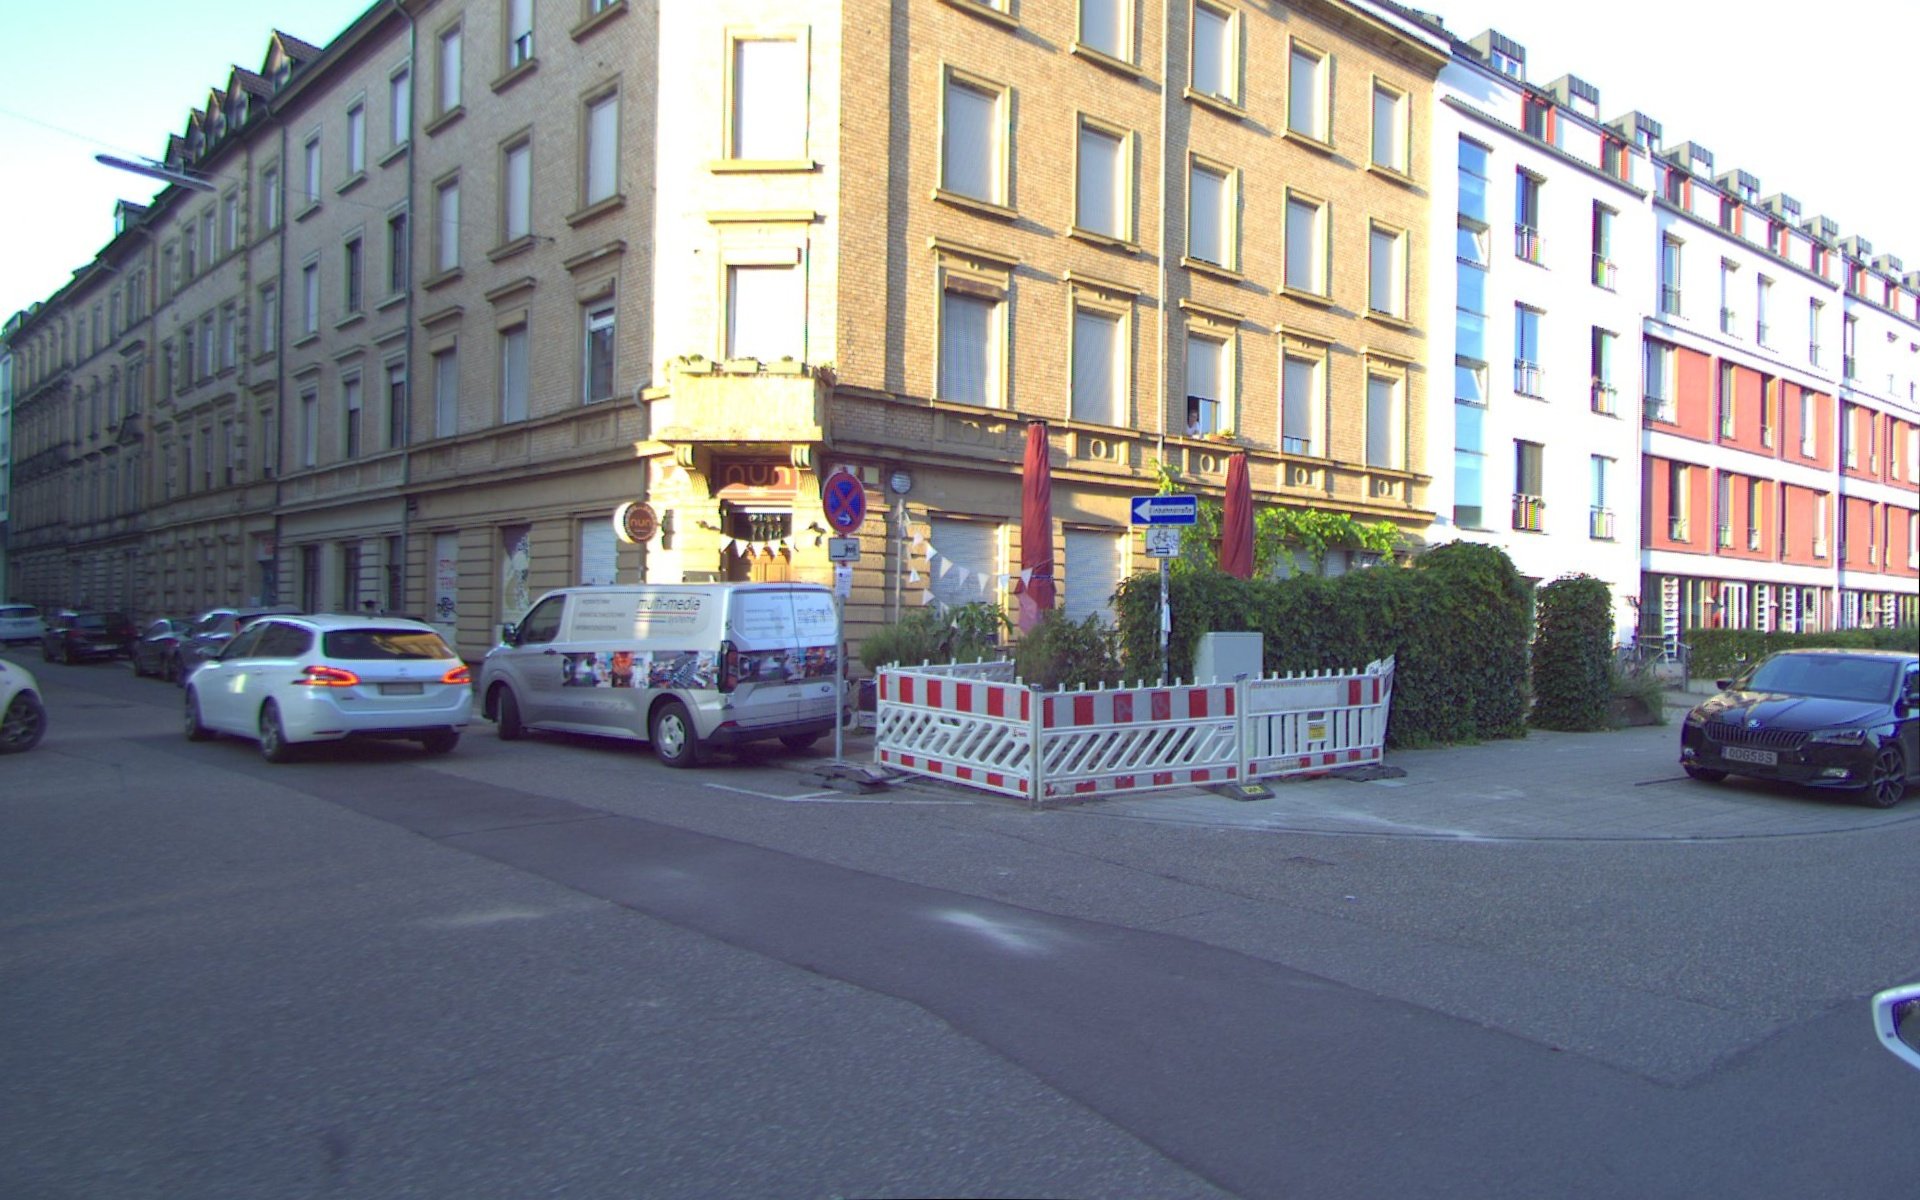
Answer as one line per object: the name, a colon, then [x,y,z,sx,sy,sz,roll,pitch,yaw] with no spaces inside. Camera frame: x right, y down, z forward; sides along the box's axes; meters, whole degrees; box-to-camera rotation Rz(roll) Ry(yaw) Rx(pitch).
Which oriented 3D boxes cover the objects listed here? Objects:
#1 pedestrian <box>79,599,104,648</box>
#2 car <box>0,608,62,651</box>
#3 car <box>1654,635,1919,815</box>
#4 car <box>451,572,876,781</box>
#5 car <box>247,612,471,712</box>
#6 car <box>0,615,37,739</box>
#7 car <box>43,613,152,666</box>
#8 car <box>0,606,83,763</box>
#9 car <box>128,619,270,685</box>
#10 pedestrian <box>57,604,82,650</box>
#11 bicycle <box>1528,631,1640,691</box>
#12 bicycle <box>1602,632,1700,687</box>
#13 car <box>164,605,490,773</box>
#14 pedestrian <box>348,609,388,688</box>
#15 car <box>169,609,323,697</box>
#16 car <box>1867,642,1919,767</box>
pedestrian: [-32.915,0.870,38.059,0.490,1.831,0.592,2,0,37]
car: [-36.138,1.105,38.507,3.937,1.578,1.882,-1,-1,38]
car: [9.256,1.194,10.678,3.800,1.554,1.695,2,-1,-31]
car: [-3.689,0.762,12.053,5.209,2.001,2.201,0,-1,36]
car: [-10.703,1.016,17.839,3.854,1.592,2.017,-1,-1,35]
car: [-13.186,0.911,12.647,4.022,1.458,1.987,-1,-1,43]
car: [-25.542,1.127,29.709,3.939,1.479,1.780,-1,-1,39]
car: [-10.368,0.841,9.283,1.943,1.528,4.056,2,0,-18]
car: [-18.358,1.192,24.171,3.939,1.446,1.836,-1,-1,39]
pedestrian: [-33.303,1.003,37.550,0.490,1.709,0.592,2,0,37]
bicycle: [13.529,1.304,21.848,0.802,1.157,1.906,2,0,-30]
bicycle: [15.898,1.352,23.152,0.603,1.163,1.768,2,0,-28]
car: [-7.281,0.882,11.361,4.529,1.543,1.813,-1,-3,40]
pedestrian: [-13.221,1.069,22.437,0.490,1.709,0.592,2,0,37]
car: [-14.670,1.019,20.573,3.939,1.644,1.577,-1,-1,39]
car: [13.813,1.368,13.397,3.976,1.550,1.640,2,-1,-34]
